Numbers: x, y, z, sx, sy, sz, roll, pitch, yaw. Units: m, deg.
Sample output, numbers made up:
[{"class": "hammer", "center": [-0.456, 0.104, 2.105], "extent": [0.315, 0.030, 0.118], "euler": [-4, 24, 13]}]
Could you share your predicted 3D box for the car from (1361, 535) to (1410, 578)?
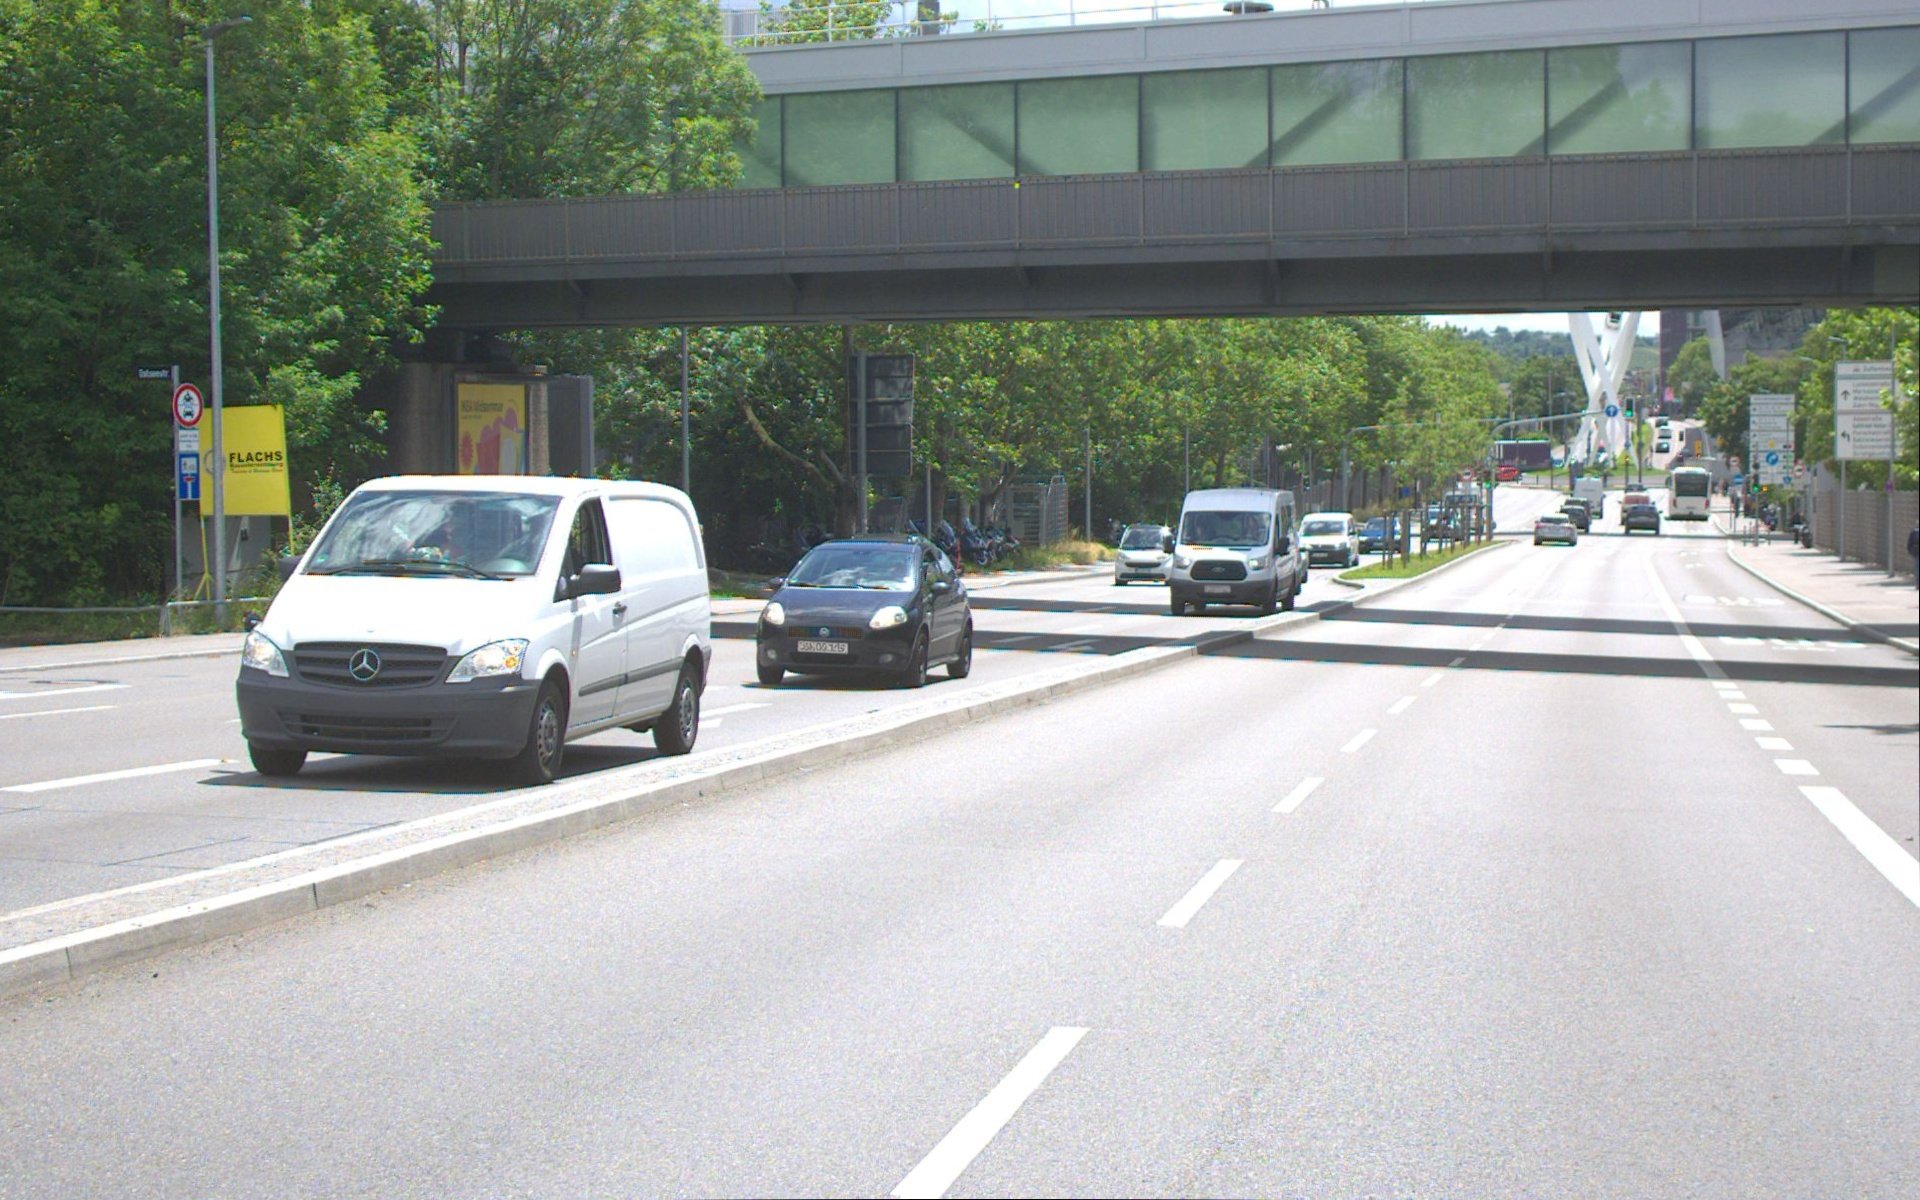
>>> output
[{"class": "car", "center": [17.239, -1.769, 139.175], "extent": [1.701, 1.692, 3.922], "euler": [1, 1, 11]}]

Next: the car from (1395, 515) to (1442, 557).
[{"class": "car", "center": [22.387, -3.124, 167.738], "extent": [1.994, 2.007, 3.998], "euler": [1, 1, 11]}]

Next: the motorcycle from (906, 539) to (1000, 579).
[{"class": "motorcycle", "center": [-0.196, -1.172, 98.839], "extent": [2.580, 1.103, 0.793], "euler": [1, 1, 23]}]

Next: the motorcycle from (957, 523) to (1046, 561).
[{"class": "motorcycle", "center": [1.271, -1.773, 105.258], "extent": [2.580, 1.103, 0.793], "euler": [1, 1, 23]}]

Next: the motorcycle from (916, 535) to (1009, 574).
[{"class": "motorcycle", "center": [0.067, -1.335, 100.585], "extent": [2.580, 1.103, 0.793], "euler": [1, 1, 23]}]

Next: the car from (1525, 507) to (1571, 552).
[{"class": "car", "center": [26.760, -3.221, 156.367], "extent": [1.930, 1.765, 3.999], "euler": [1, 5, 11]}]

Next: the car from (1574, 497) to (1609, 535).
[{"class": "car", "center": [34.462, -4.589, 187.660], "extent": [1.858, 1.699, 4.000], "euler": [0, 7, 10]}]

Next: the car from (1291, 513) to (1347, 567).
[{"class": "car", "center": [11.786, -1.968, 112.689], "extent": [1.701, 1.692, 3.923], "euler": [1, 1, 8]}]

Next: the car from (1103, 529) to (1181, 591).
[{"class": "car", "center": [4.785, -1.058, 89.837], "extent": [1.701, 1.545, 3.923], "euler": [1, 1, 8]}]

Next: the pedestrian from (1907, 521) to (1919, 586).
[{"class": "pedestrian", "center": [24.953, -1.208, 89.224], "extent": [0.621, 1.612, 0.747], "euler": [1, 5, 10]}]

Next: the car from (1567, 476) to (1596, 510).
[{"class": "car", "center": [40.968, -7.090, 226.594], "extent": [1.874, 2.006, 3.692], "euler": [1, 5, 10]}]

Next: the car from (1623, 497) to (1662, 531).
[{"class": "car", "center": [37.108, -4.674, 186.980], "extent": [1.994, 1.853, 3.999], "euler": [1, 1, 10]}]

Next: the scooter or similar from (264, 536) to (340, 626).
[{"class": "scooter or similar", "center": [-9.034, -0.265, 47.216], "extent": [0.612, 1.207, 1.261], "euler": [1, 1, 10]}]

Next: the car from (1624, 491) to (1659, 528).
[{"class": "car", "center": [41.561, -5.524, 209.665], "extent": [1.994, 2.006, 3.999], "euler": [1, 5, 12]}]

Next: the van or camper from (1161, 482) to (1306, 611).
[{"class": "van or camper", "center": [5.406, -1.056, 67.214], "extent": [2.009, 2.393, 6.395], "euler": [1, 1, 12]}]

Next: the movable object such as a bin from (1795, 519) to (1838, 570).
[{"class": "movable object such as a bin", "center": [36.412, -2.371, 146.187], "extent": [1.666, 2.125, 1.277], "euler": [1, 1, 16]}]

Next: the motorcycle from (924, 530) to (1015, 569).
[{"class": "motorcycle", "center": [0.284, -1.498, 102.335], "extent": [2.580, 1.103, 0.793], "euler": [1, 1, 23]}]

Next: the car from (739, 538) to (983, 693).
[{"class": "car", "center": [-0.969, 0.115, 35.590], "extent": [1.638, 1.466, 3.774], "euler": [1, 2, 12]}]

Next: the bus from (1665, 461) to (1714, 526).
[{"class": "bus", "center": [48.285, -7.122, 227.815], "extent": [2.797, 3.739, 9.467], "euler": [1, 5, 10]}]

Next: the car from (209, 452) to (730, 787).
[{"class": "car", "center": [-3.049, 0.055, 22.482], "extent": [1.878, 1.918, 4.748], "euler": [1, 2, 11]}]
